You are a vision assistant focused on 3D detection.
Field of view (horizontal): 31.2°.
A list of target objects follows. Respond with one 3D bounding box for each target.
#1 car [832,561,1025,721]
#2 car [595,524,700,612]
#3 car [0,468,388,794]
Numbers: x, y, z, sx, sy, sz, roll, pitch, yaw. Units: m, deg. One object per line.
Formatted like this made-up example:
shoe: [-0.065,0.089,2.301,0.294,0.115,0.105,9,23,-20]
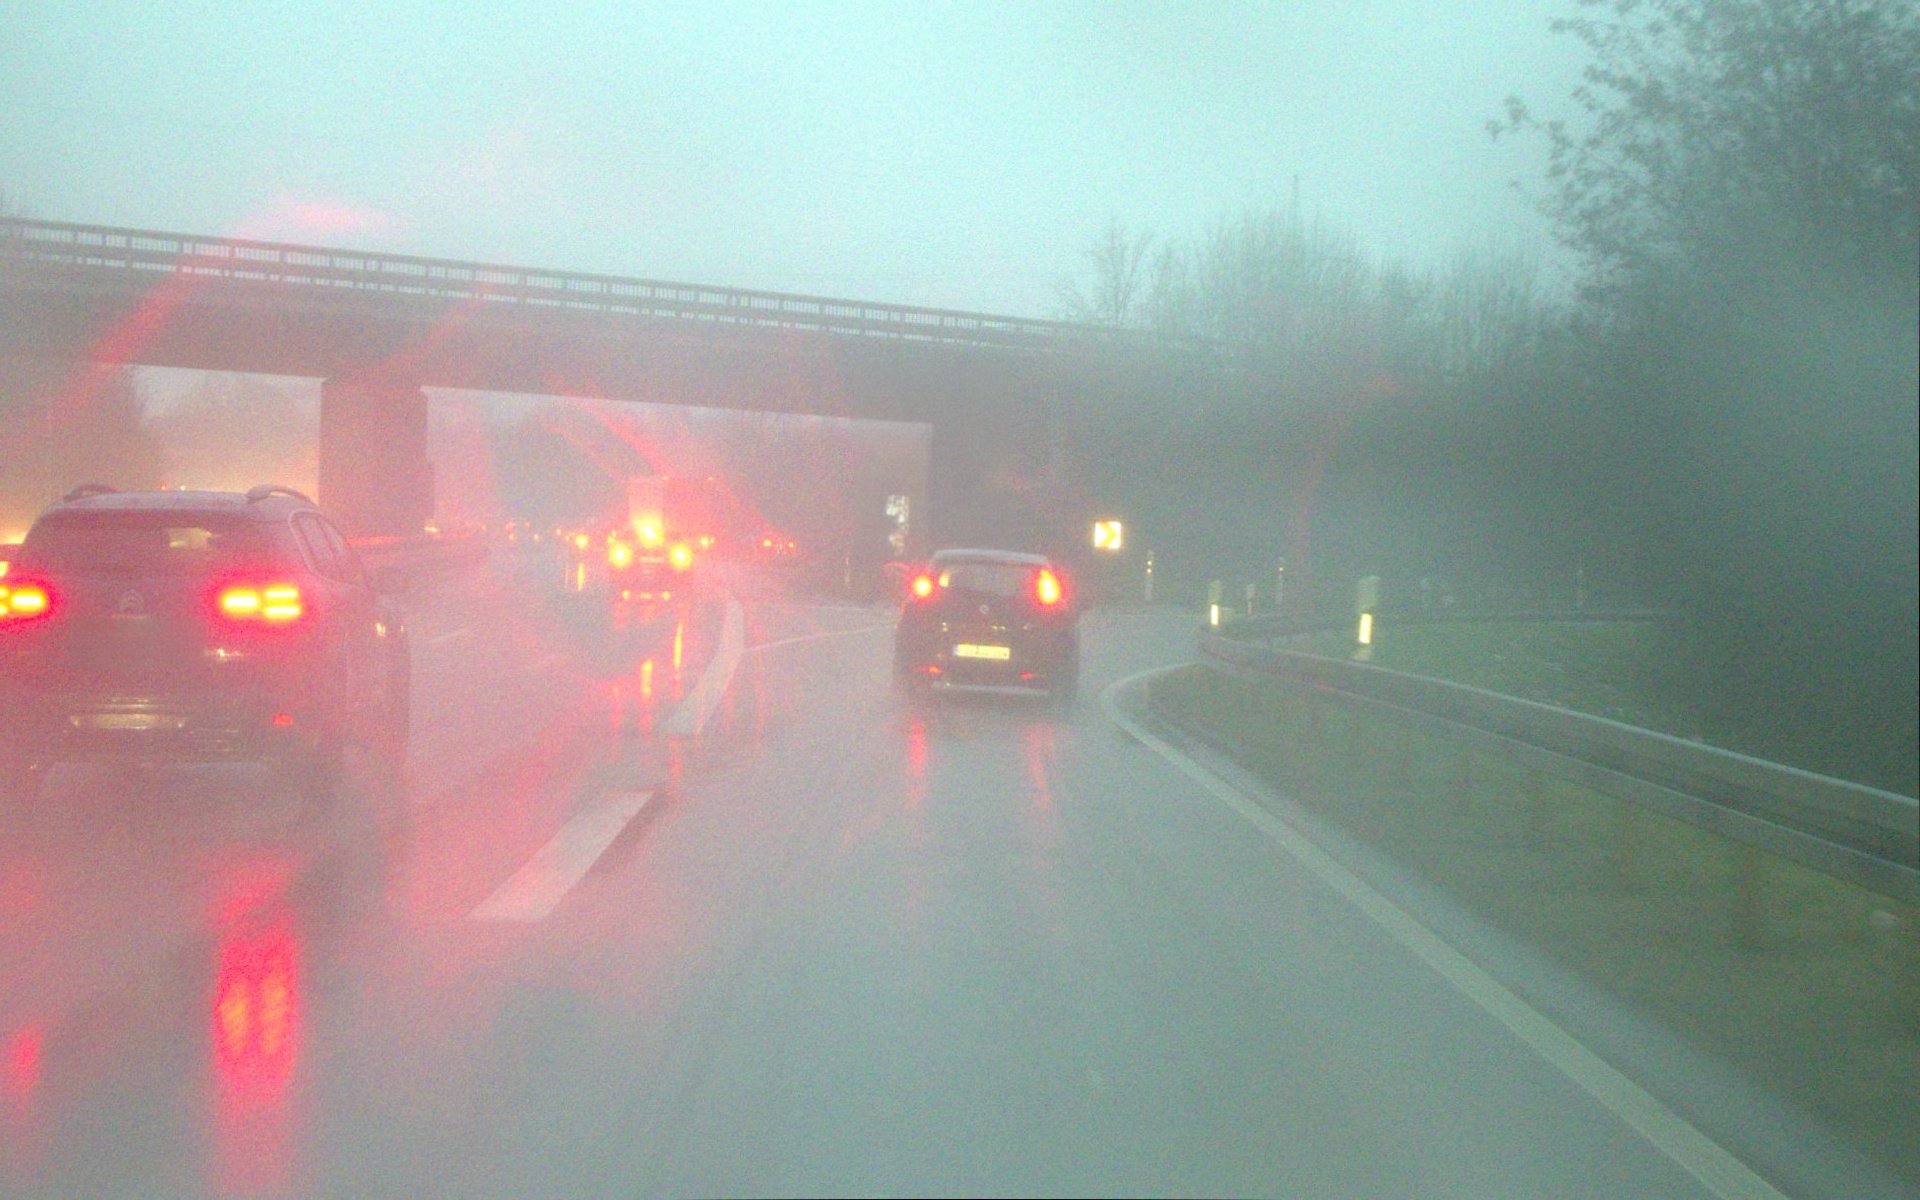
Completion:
car: [-0.260,0.358,33.869,1.732,1.424,3.765,0,2,2]
car: [-6.503,-0.702,71.968,1.878,1.611,3.875,2,3,-1]
car: [-4.323,0.106,19.587,1.993,1.659,4.001,0,1,-8]
